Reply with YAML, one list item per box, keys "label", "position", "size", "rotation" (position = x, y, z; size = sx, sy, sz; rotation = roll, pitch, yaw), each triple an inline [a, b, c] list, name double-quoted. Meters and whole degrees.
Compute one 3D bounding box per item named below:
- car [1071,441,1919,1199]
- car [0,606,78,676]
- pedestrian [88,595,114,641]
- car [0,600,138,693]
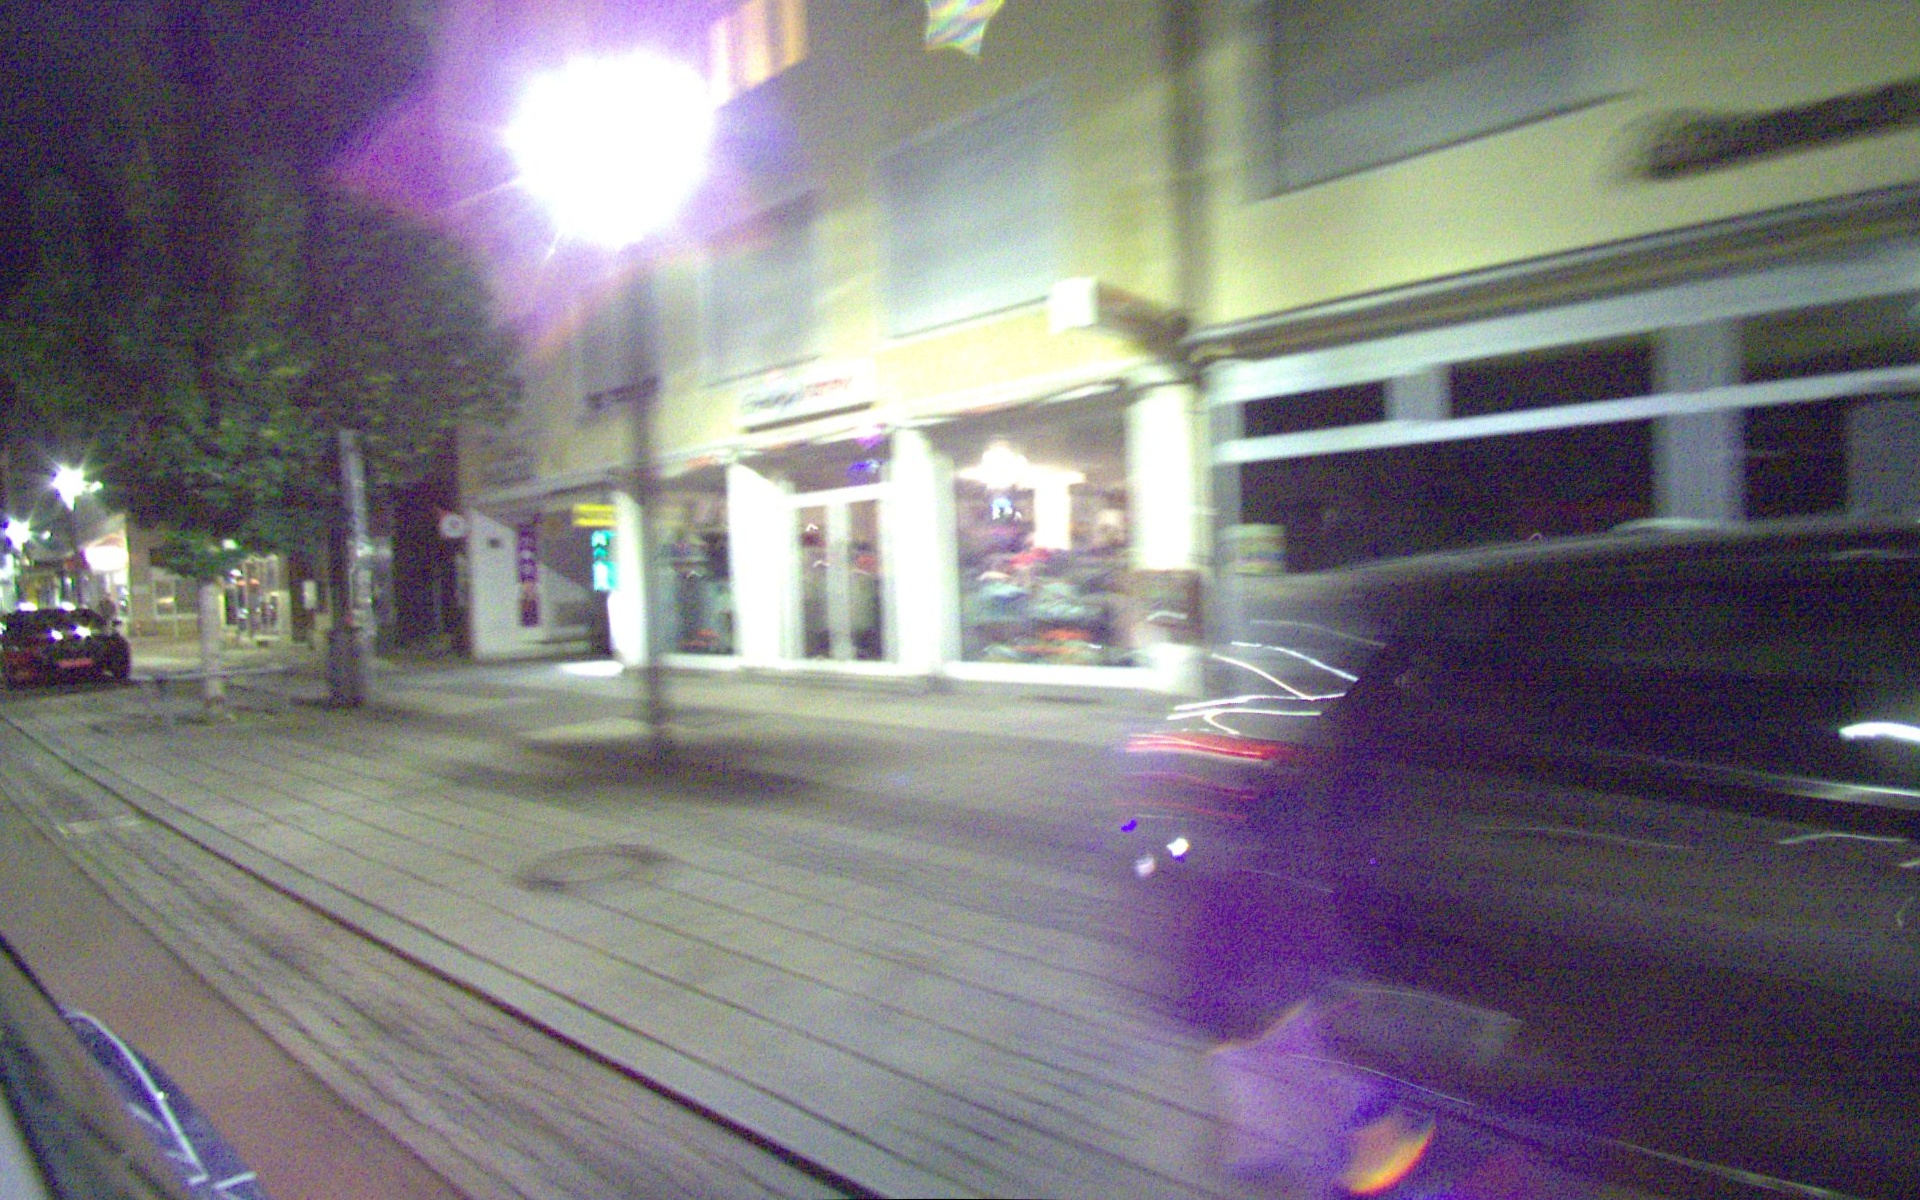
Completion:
- label: "car"
  position: [2.485, 0.474, 1.938]
  size: [4.222, 1.554, 1.659]
  rotation: [-1, 2, 36]
- label: "car"
  position: [-22.701, 0.965, 24.347]
  size: [3.845, 1.487, 1.711]
  rotation: [-1, 2, 42]
- label: "pedestrian"
  position: [-33.988, 0.705, 40.047]
  size: [1.023, 1.758, 0.614]
  rotation: [-1, 2, 43]
- label: "car"
  position: [-18.419, 0.874, 20.404]
  size: [5.006, 1.498, 1.999]
  rotation: [-1, 4, 42]
